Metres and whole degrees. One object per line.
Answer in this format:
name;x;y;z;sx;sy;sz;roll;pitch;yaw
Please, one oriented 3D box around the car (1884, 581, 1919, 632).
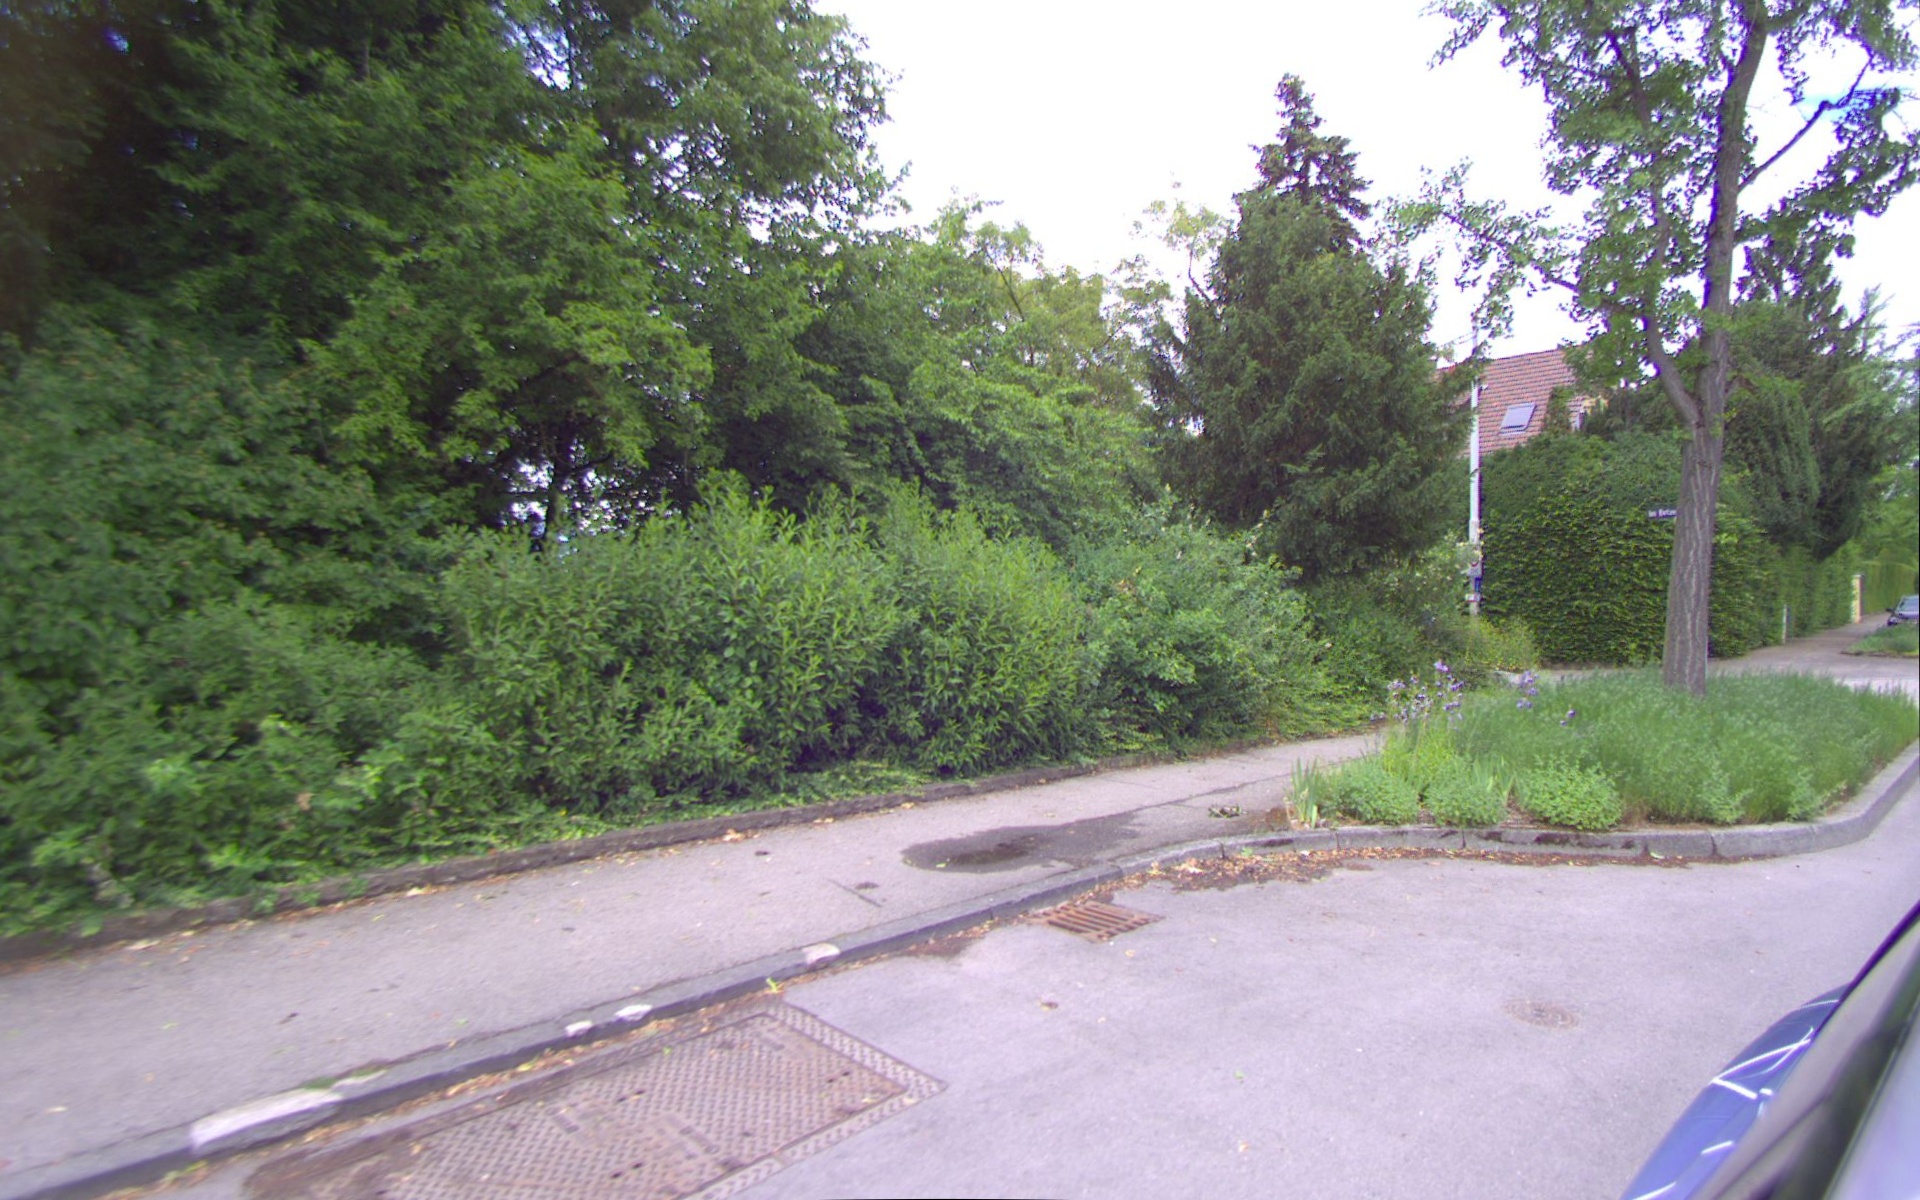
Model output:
car;30.088;0.182;31.511;3.677;1.491;1.625;-2;1;-42
